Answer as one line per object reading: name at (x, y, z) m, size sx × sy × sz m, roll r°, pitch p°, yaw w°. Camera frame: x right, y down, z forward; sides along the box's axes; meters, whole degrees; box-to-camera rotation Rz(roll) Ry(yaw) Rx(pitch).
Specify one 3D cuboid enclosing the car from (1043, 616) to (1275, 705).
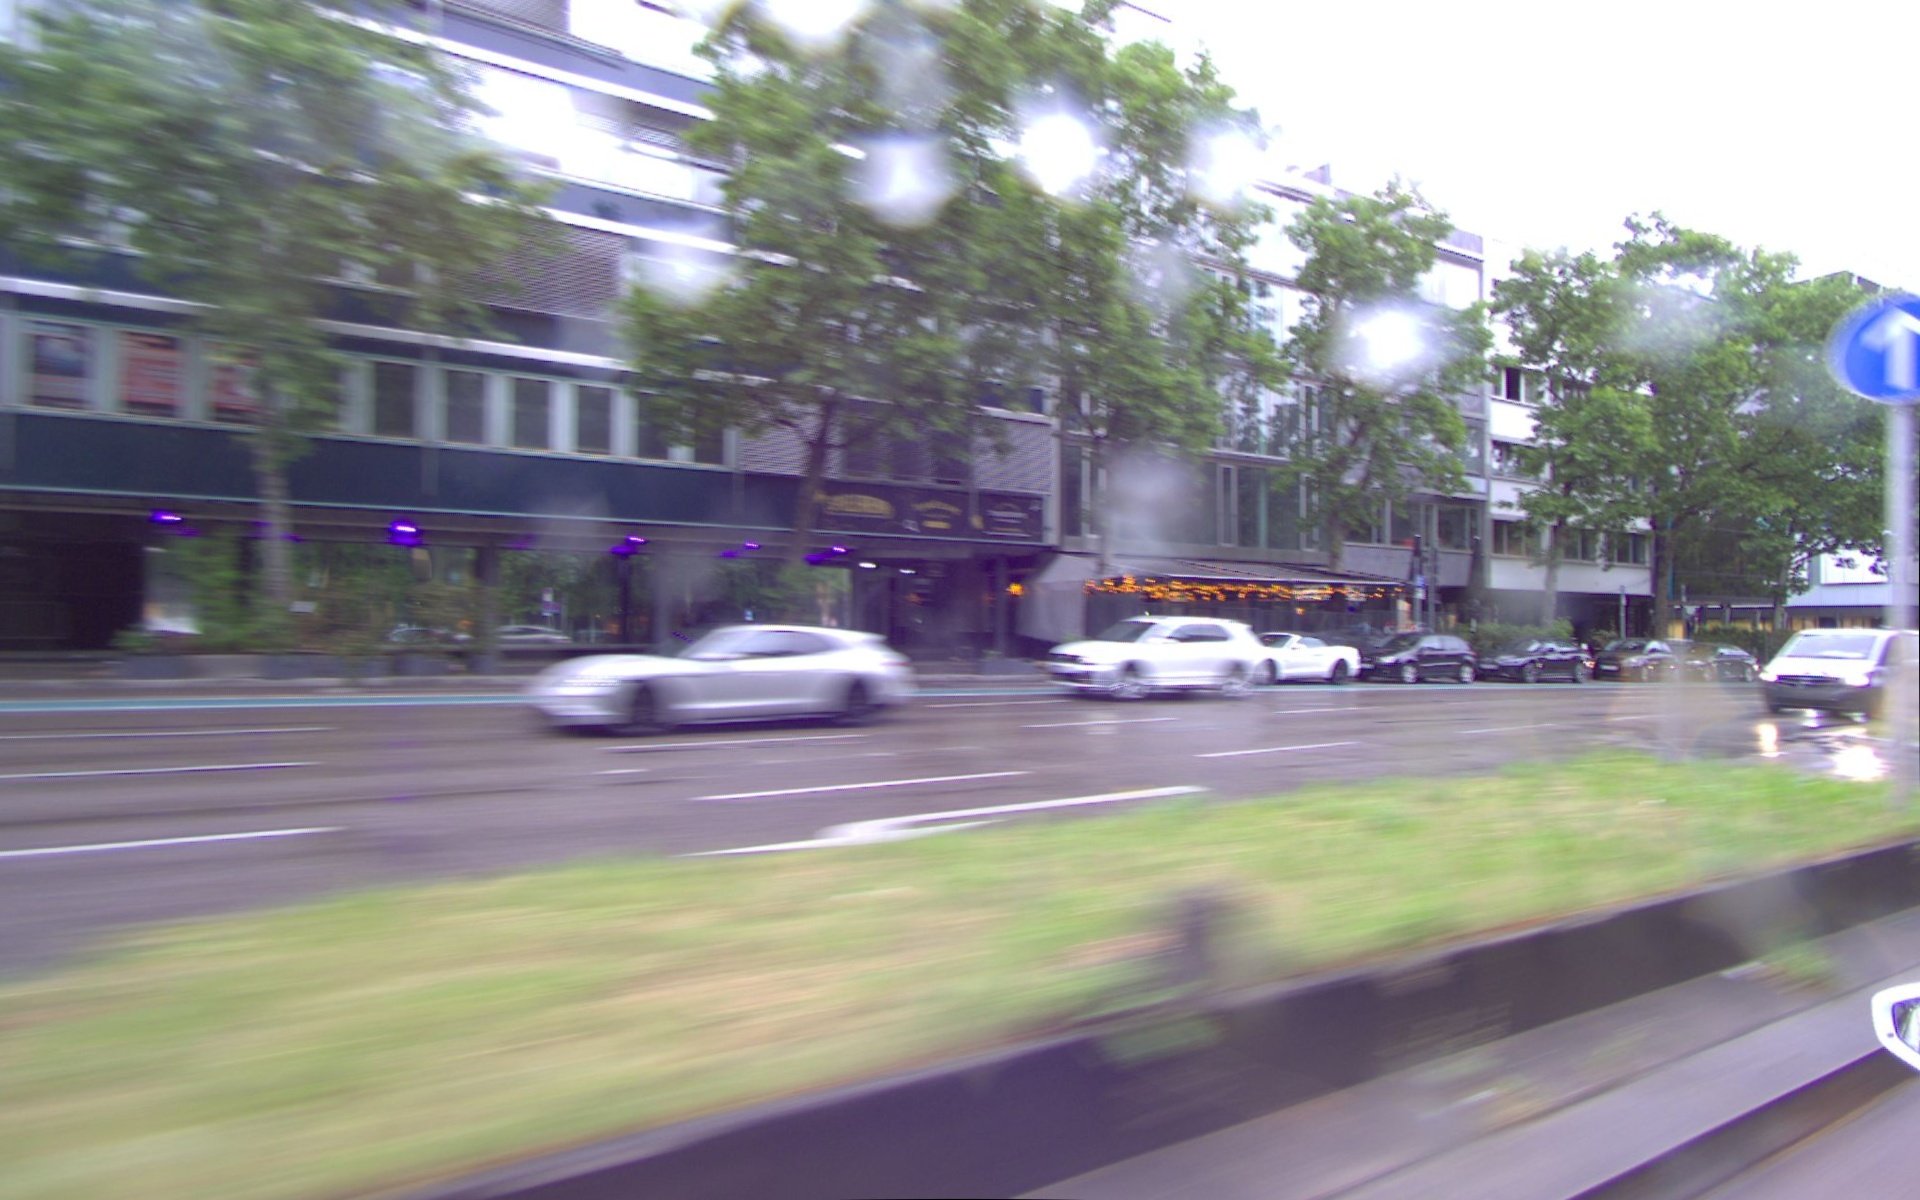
car at (4.083, 1.206, 20.481) m, size 4.487 × 1.636 × 1.755 m, roll 2°, pitch 0°, yaw -26°

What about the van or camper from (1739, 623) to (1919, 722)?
van or camper at (19.551, 1.544, 22.135) m, size 5.190 × 1.939 × 1.984 m, roll 2°, pitch -1°, yaw -30°

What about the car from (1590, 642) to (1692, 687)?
car at (24.036, 2.259, 35.454) m, size 3.419 × 1.488 × 1.685 m, roll 2°, pitch -1°, yaw -30°

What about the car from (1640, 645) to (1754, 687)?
car at (27.783, 2.461, 37.826) m, size 4.847 × 1.428 × 1.685 m, roll 2°, pitch -1°, yaw -30°

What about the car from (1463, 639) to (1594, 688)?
car at (18.314, 2.031, 32.299) m, size 4.404 × 1.428 × 1.685 m, roll 2°, pitch -1°, yaw -30°

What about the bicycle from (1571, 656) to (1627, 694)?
bicycle at (19.896, 2.331, 31.278) m, size 1.794 × 1.118 × 0.706 m, roll 3°, pitch -2°, yaw -29°

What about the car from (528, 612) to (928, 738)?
car at (-3.033, 0.938, 13.583) m, size 4.904 × 1.428 × 1.955 m, roll 2°, pitch -2°, yaw -33°

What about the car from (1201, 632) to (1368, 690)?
car at (8.705, 1.608, 26.834) m, size 4.627 × 1.371 × 1.552 m, roll 2°, pitch 0°, yaw -30°

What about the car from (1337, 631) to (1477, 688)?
car at (13.181, 1.735, 29.573) m, size 3.953 × 1.528 × 1.828 m, roll 2°, pitch -1°, yaw -30°
